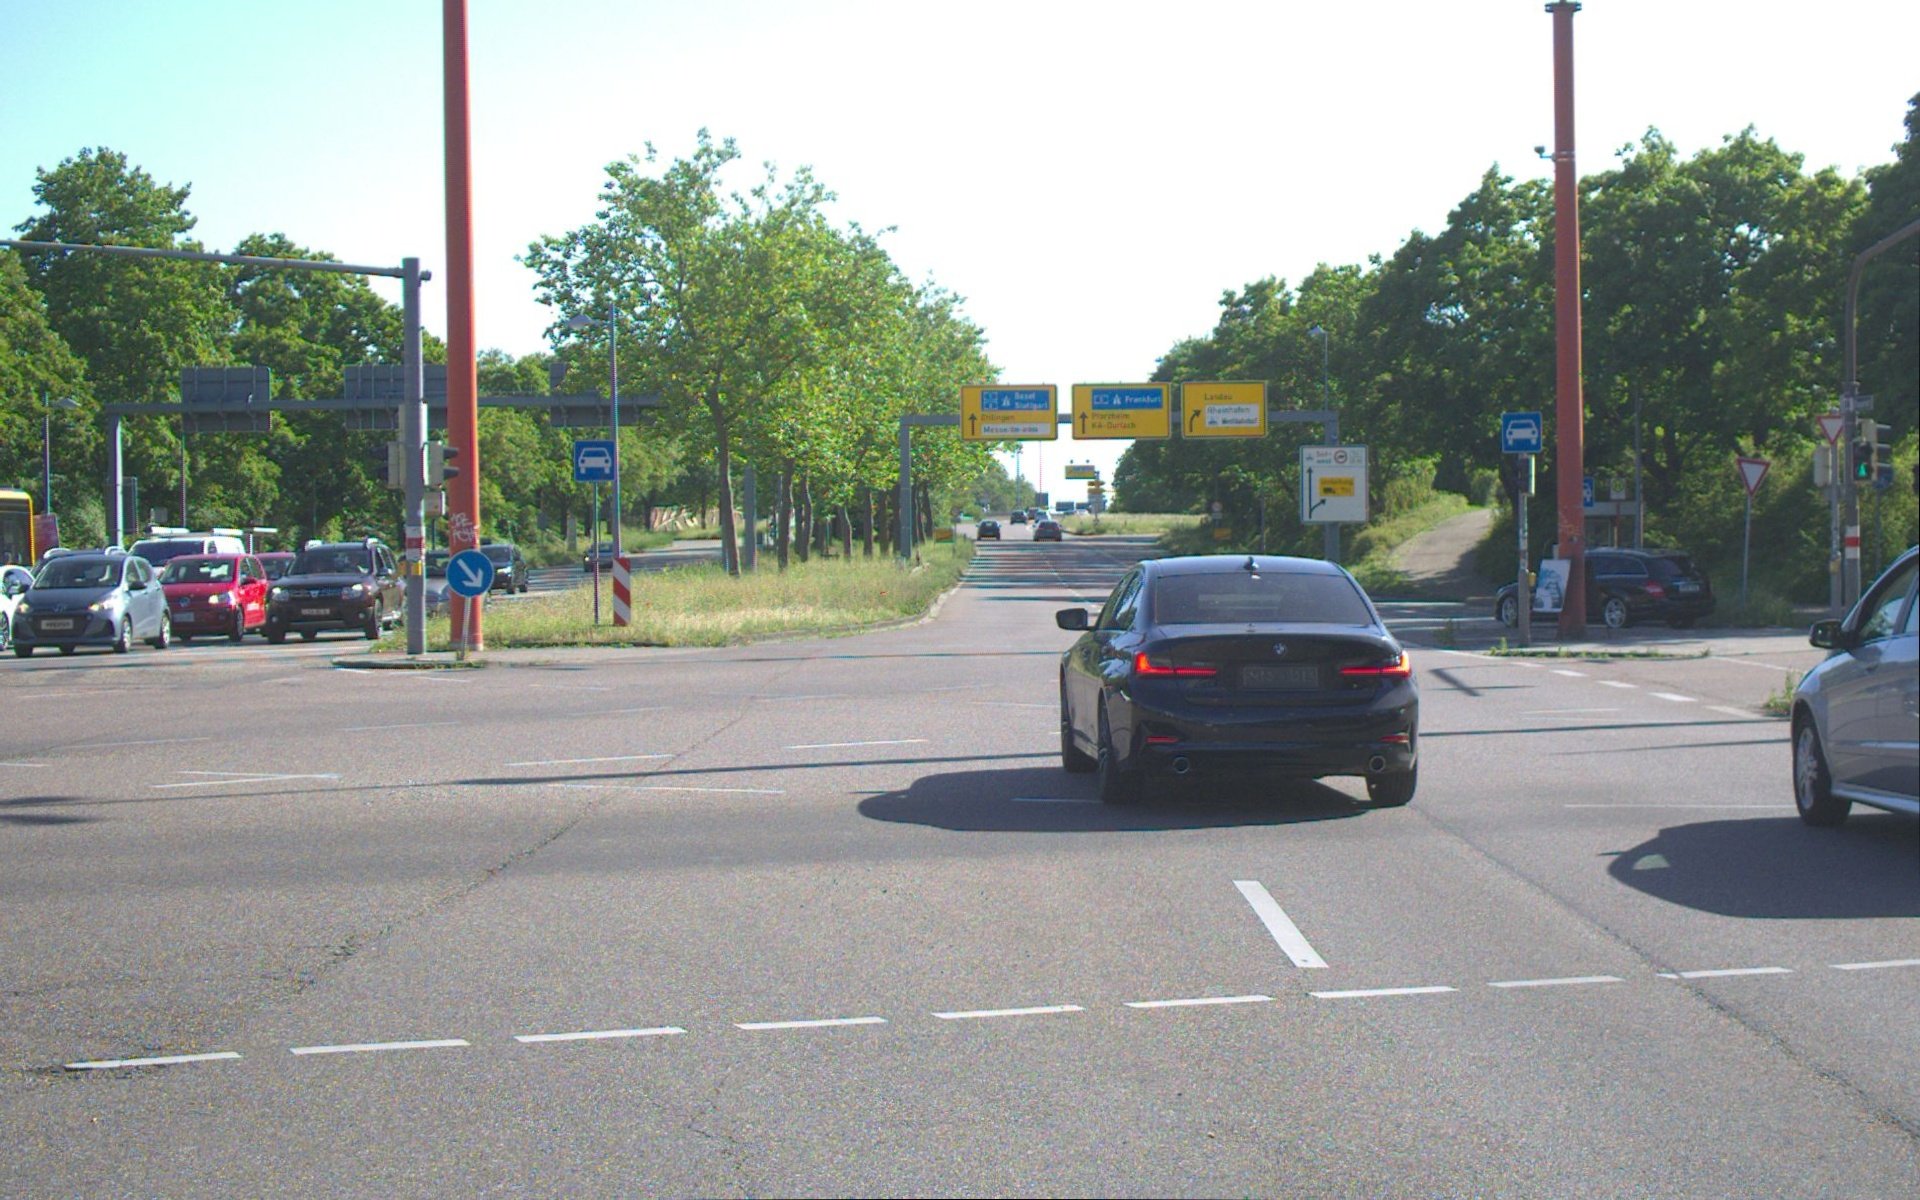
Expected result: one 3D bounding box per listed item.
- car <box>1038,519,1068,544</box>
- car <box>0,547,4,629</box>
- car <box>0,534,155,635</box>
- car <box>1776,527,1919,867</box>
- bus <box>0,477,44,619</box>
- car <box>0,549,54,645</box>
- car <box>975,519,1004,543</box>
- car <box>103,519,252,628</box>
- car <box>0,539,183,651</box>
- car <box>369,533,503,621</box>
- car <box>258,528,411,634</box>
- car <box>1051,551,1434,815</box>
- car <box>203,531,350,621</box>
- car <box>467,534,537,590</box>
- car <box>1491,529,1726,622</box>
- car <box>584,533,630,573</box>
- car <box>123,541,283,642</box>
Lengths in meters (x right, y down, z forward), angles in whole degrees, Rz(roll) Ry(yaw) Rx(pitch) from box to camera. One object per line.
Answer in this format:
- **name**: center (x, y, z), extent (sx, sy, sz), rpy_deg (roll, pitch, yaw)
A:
- **car**: center (6.678, -4.962, 248.016), extent (1.993, 1.727, 4.000), rpy_deg (1, 1, -1)
- **car**: center (-19.989, -0.203, 66.804), extent (1.778, 1.646, 3.974), rpy_deg (-3, 0, -2)
- **car**: center (-16.397, -0.311, 63.771), extent (1.874, 1.778, 4.000), rpy_deg (-1, 1, 1)
- **car**: center (5.386, 0.458, 17.078), extent (1.716, 1.602, 3.847), rpy_deg (1, 1, 0)
- **bus**: center (-23.286, -1.183, 75.893), extent (2.646, 3.250, 12.536), rpy_deg (1, 1, 1)
- **car**: center (-16.530, -0.055, 57.281), extent (1.901, 1.549, 4.000), rpy_deg (-2, 1, -2)
- **car**: center (2.162, -5.115, 254.020), extent (1.993, 1.727, 4.000), rpy_deg (1, 1, -1)
- **car**: center (-16.066, -0.573, 70.829), extent (1.961, 2.147, 5.082), rpy_deg (-1, 1, -1)
- **car**: center (-13.217, -0.104, 52.290), extent (1.874, 1.545, 4.028), rpy_deg (-2, 1, -1)
- **car**: center (-9.687, -0.449, 63.844), extent (1.885, 1.538, 4.000), rpy_deg (-2, 1, -1)
- **car**: center (-10.211, -0.332, 56.365), extent (1.793, 1.620, 4.144), rpy_deg (-2, 1, -1)
- **car**: center (1.620, 0.436, 21.127), extent (1.763, 1.436, 4.295), rpy_deg (1, 1, -3)
- **car**: center (-12.804, -0.459, 64.624), extent (1.901, 1.624, 4.000), rpy_deg (0, 1, 1)
- **car**: center (-15.338, -1.300, 115.193), extent (1.837, 1.831, 3.961), rpy_deg (-1, 1, -1)
- **car**: center (11.826, -0.468, 62.919), extent (1.764, 1.630, 4.298), rpy_deg (0, 1, -32)
- **car**: center (-17.900, -2.392, 174.706), extent (1.920, 1.992, 4.604), rpy_deg (-1, 1, -1)
- **car**: center (-12.865, -0.163, 58.628), extent (1.875, 1.547, 4.000), rpy_deg (-4, 1, -2)
